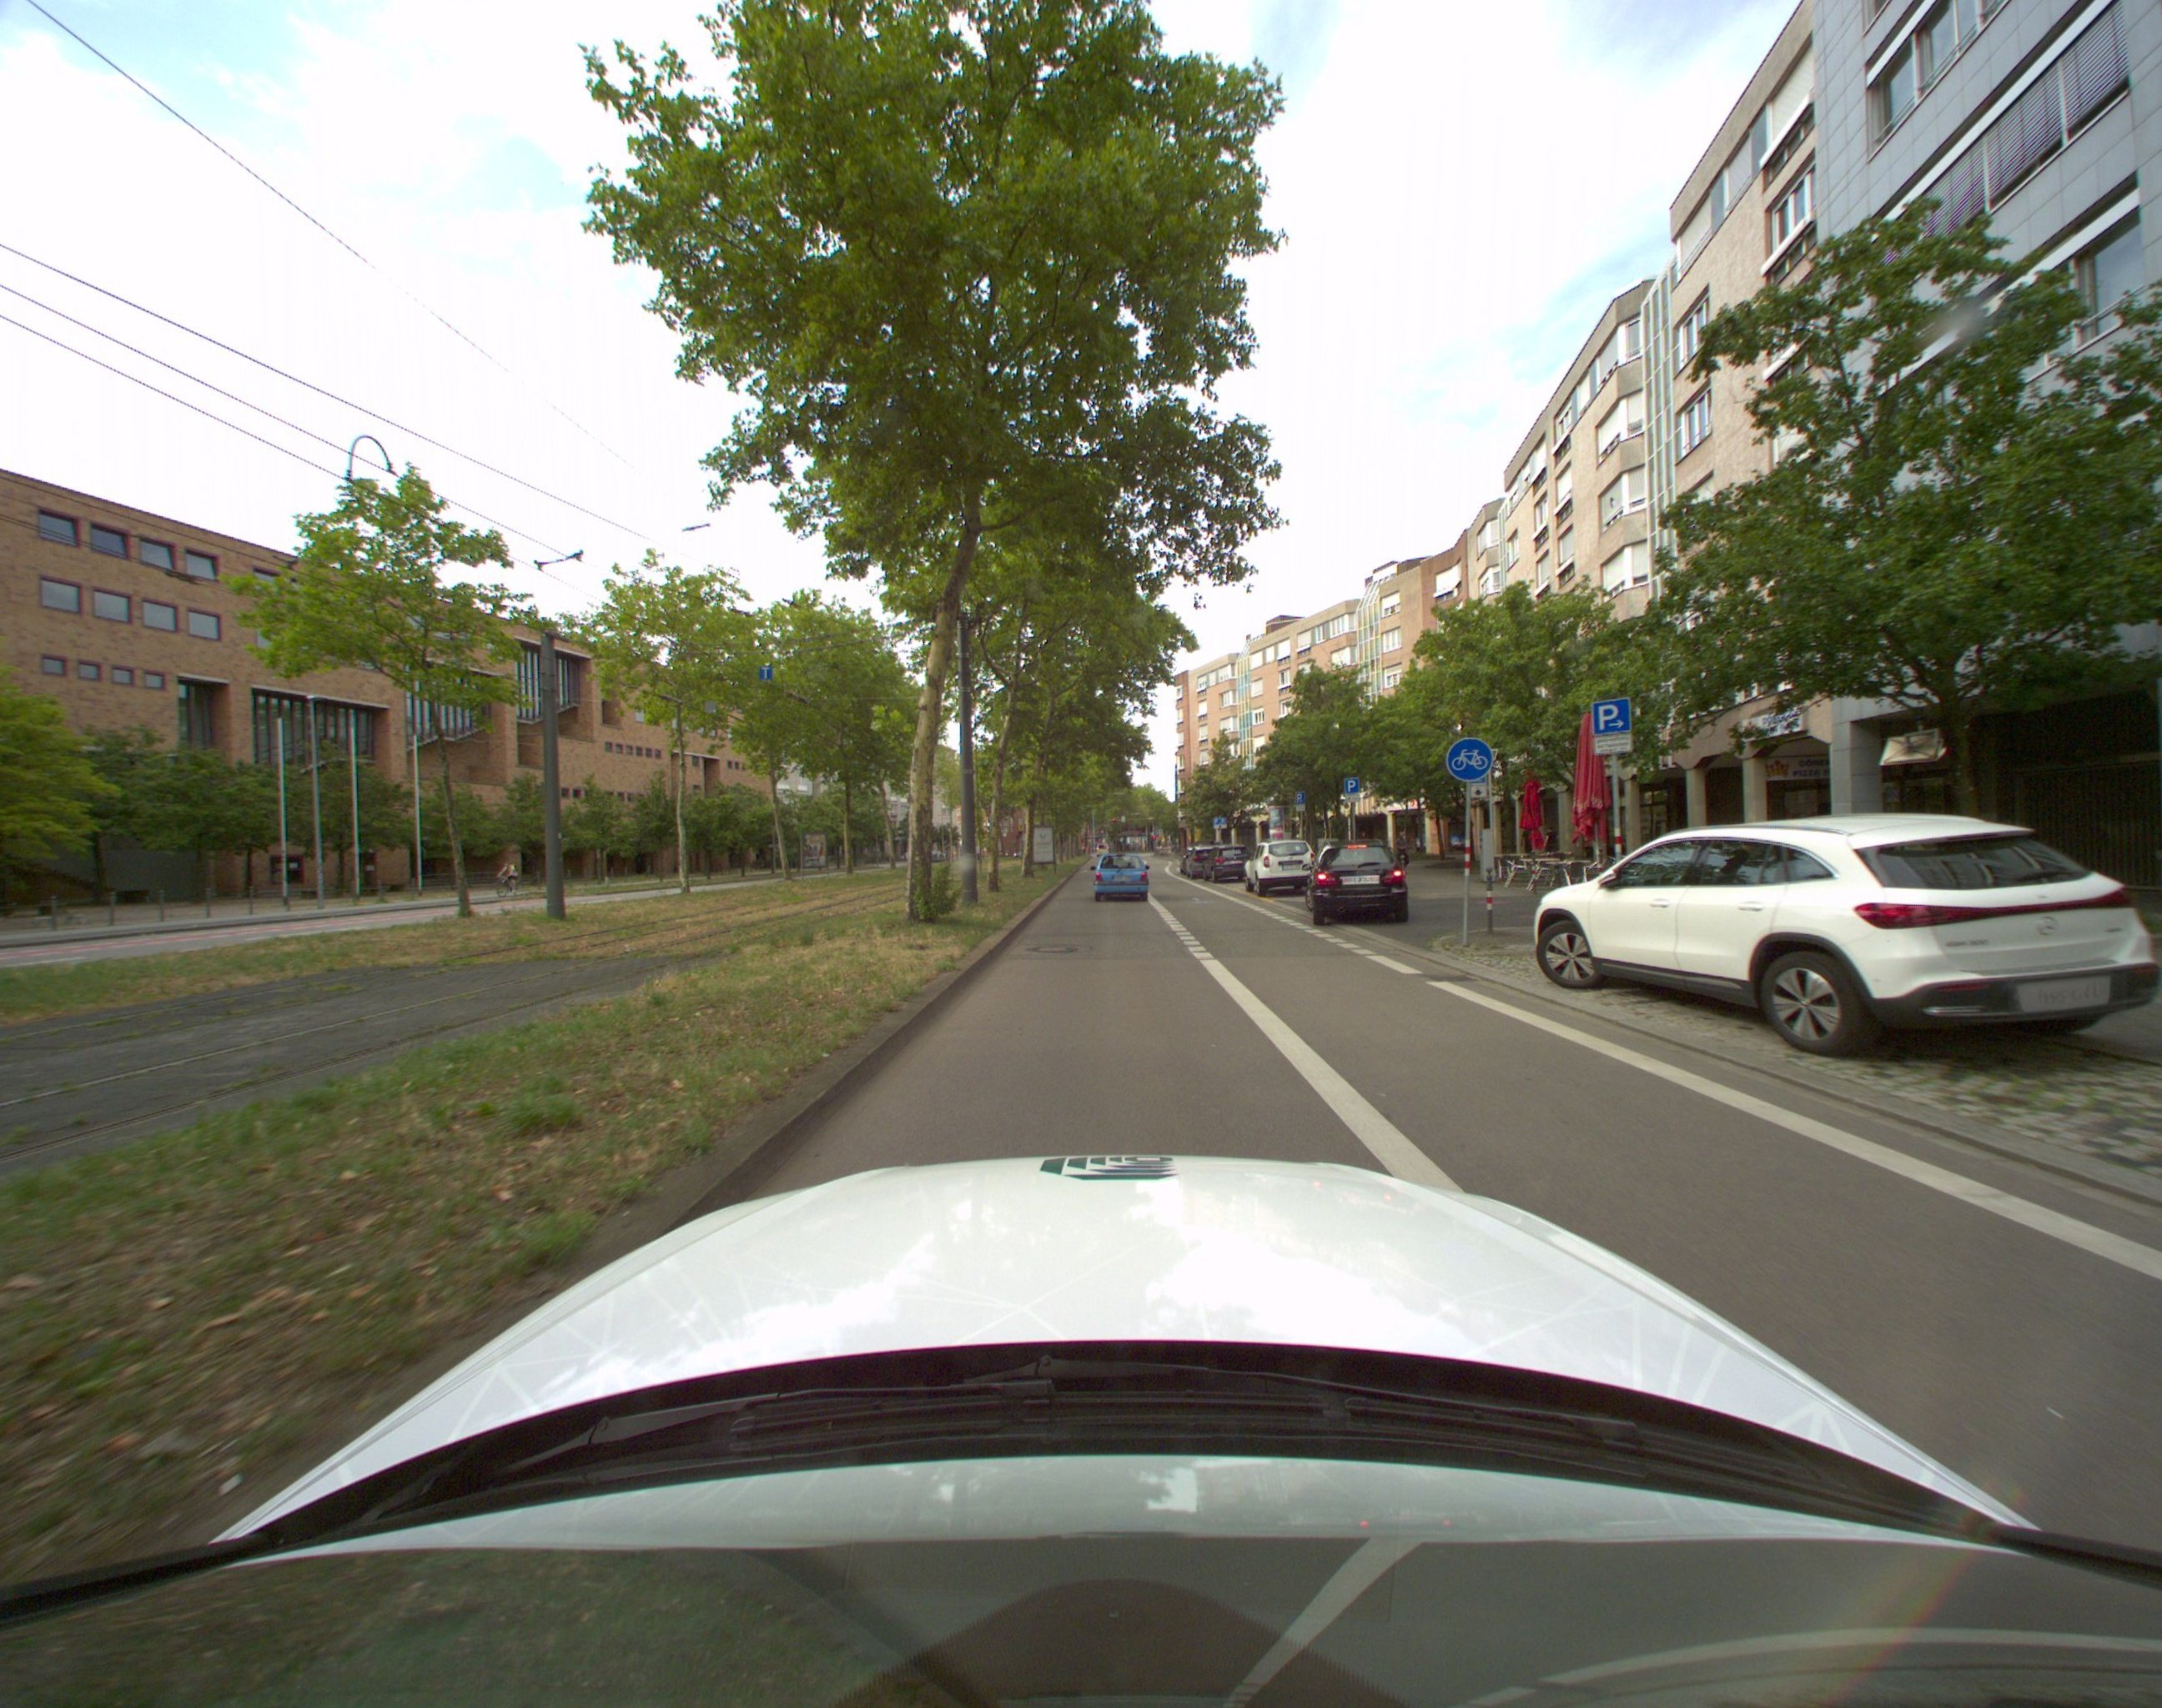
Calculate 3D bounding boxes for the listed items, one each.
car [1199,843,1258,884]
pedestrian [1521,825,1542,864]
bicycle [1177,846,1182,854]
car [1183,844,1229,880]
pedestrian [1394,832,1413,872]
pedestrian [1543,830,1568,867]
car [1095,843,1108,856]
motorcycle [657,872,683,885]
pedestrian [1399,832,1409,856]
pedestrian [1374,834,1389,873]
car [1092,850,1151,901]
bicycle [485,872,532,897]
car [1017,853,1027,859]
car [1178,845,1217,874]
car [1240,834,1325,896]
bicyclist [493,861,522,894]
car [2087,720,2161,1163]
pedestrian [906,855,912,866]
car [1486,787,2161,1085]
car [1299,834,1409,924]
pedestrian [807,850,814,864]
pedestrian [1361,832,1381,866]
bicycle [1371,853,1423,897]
[{"bbox_3d":[6.153,0.347,34.314,1.709,1.519,4.205,-4,0,1],"label":"car"},{"bbox_3d":[19.834,-0.422,35.885,0.601,1.662,0.684,-2,0,11],"label":"pedestrian"},{"bbox_3d":[14.284,-0.548,118.371,0.609,1.118,1.809,-2,0,9],"label":"bicycle"},{"bbox_3d":[5.998,0.340,39.461,1.733,1.519,4.405,-3,0,3],"label":"car"},{"bbox_3d":[12.803,-0.083,32.330,0.510,1.569,0.483,-2,0,37],"label":"pedestrian"},{"bbox_3d":[20.708,-0.238,35.568,0.705,1.555,0.802,-2,0,15],"label":"pedestrian"},{"bbox_3d":[3.184,-0.648,123.965,1.924,1.925,4.958,-2,0,2],"label":"car"},{"bbox_3d":[-41.037,2.480,81.378,2.198,1.191,0.791,-2,0,-22],"label":"motorcycle"},{"bbox_3d":[23.486,-0.734,59.183,0.529,1.662,0.854,-2,0,14],"label":"pedestrian"},{"bbox_3d":[11.580,-0.012,31.404,0.409,1.479,0.504,-2,0,8],"label":"pedestrian"},{"bbox_3d":[1.217,0.607,24.922,1.634,1.386,3.845,-1,0,2],"label":"car"},{"bbox_3d":[-28.449,1.495,40.511,0.665,1.084,2.096,-2,1,5],"label":"bicycle"},{"bbox_3d":[-12.686,0.363,174.961,1.723,1.245,4.536,-2,0,1],"label":"car"},{"bbox_3d":[6.450,0.280,45.514,1.808,1.442,4.671,-3,0,4],"label":"car"},{"bbox_3d":[6.107,0.280,25.136,1.852,1.653,4.169,-3,0,5],"label":"car"},{"bbox_3d":[-28.470,1.141,40.442,0.661,1.590,0.985,-2,0,5],"label":"bicyclist"},{"bbox_3d":[5.438,0.331,1.304,1.821,1.864,4.646,-4,1,-1],"label":"car"},{"bbox_3d":[-25.648,0.953,121.249,0.549,1.705,0.886,-2,0,6],"label":"pedestrian"},{"bbox_3d":[5.794,0.440,7.071,1.990,1.602,4.577,-5,1,-3],"label":"car"},{"bbox_3d":[5.589,0.428,17.128,1.762,1.576,4.321,-4,0,14],"label":"car"},{"bbox_3d":[-33.633,0.411,101.347,0.549,1.705,0.627,-2,0,6],"label":"pedestrian"},{"bbox_3d":[13.585,-0.223,38.224,0.740,1.569,0.766,-2,0,11],"label":"pedestrian"},{"bbox_3d":[7.930,0.501,20.525,0.603,1.029,1.867,-2,1,2],"label":"bicycle"}]
